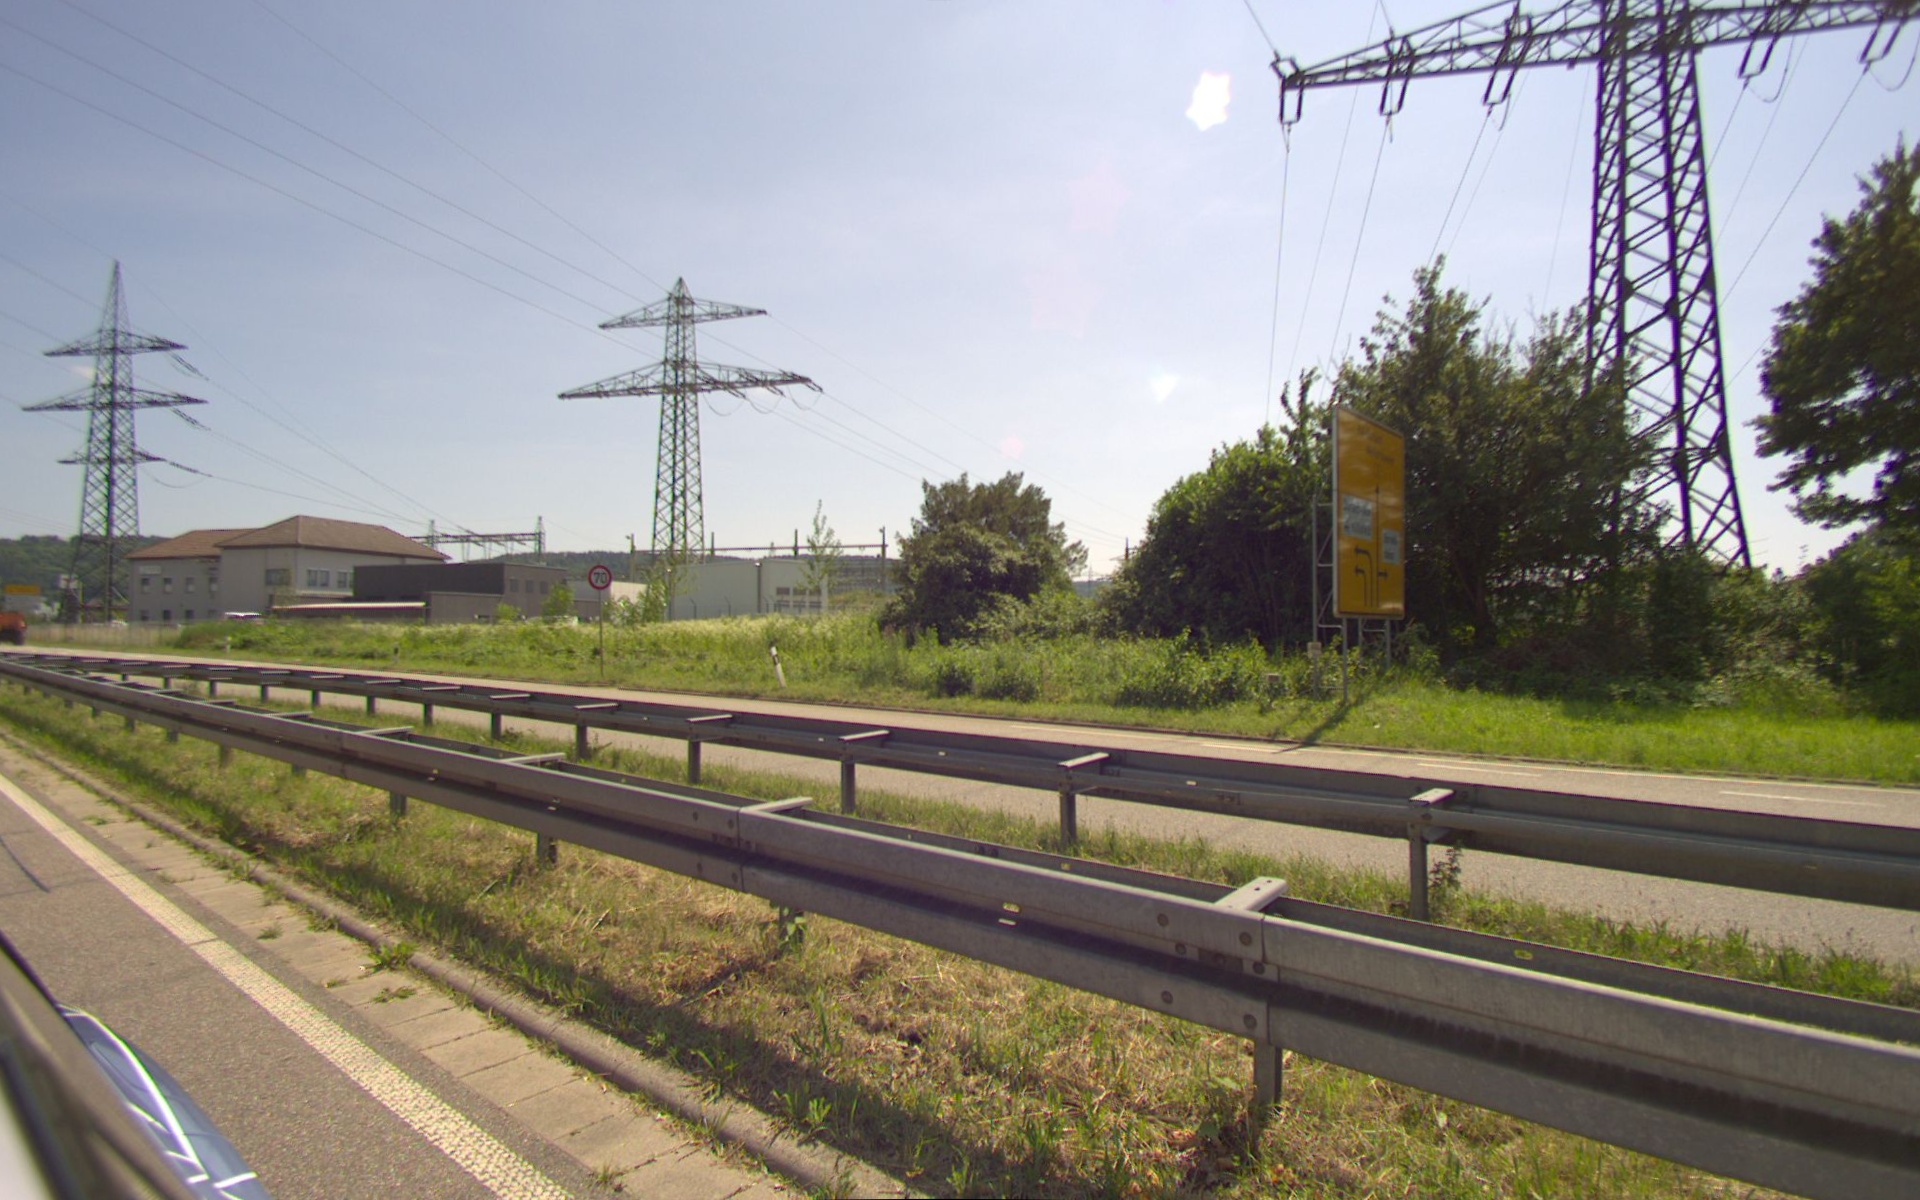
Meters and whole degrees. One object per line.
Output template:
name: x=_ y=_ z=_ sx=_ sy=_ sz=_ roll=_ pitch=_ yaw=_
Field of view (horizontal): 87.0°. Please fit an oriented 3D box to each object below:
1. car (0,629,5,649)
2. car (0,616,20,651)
car: x=-95.818 y=3.817 z=99.685 sx=3.993 sy=1.929 sz=1.975 roll=0 pitch=0 yaw=37
car: x=-88.498 y=3.054 z=92.794 sx=5.634 sy=3.084 sz=2.574 roll=-1 pitch=-3 yaw=40
